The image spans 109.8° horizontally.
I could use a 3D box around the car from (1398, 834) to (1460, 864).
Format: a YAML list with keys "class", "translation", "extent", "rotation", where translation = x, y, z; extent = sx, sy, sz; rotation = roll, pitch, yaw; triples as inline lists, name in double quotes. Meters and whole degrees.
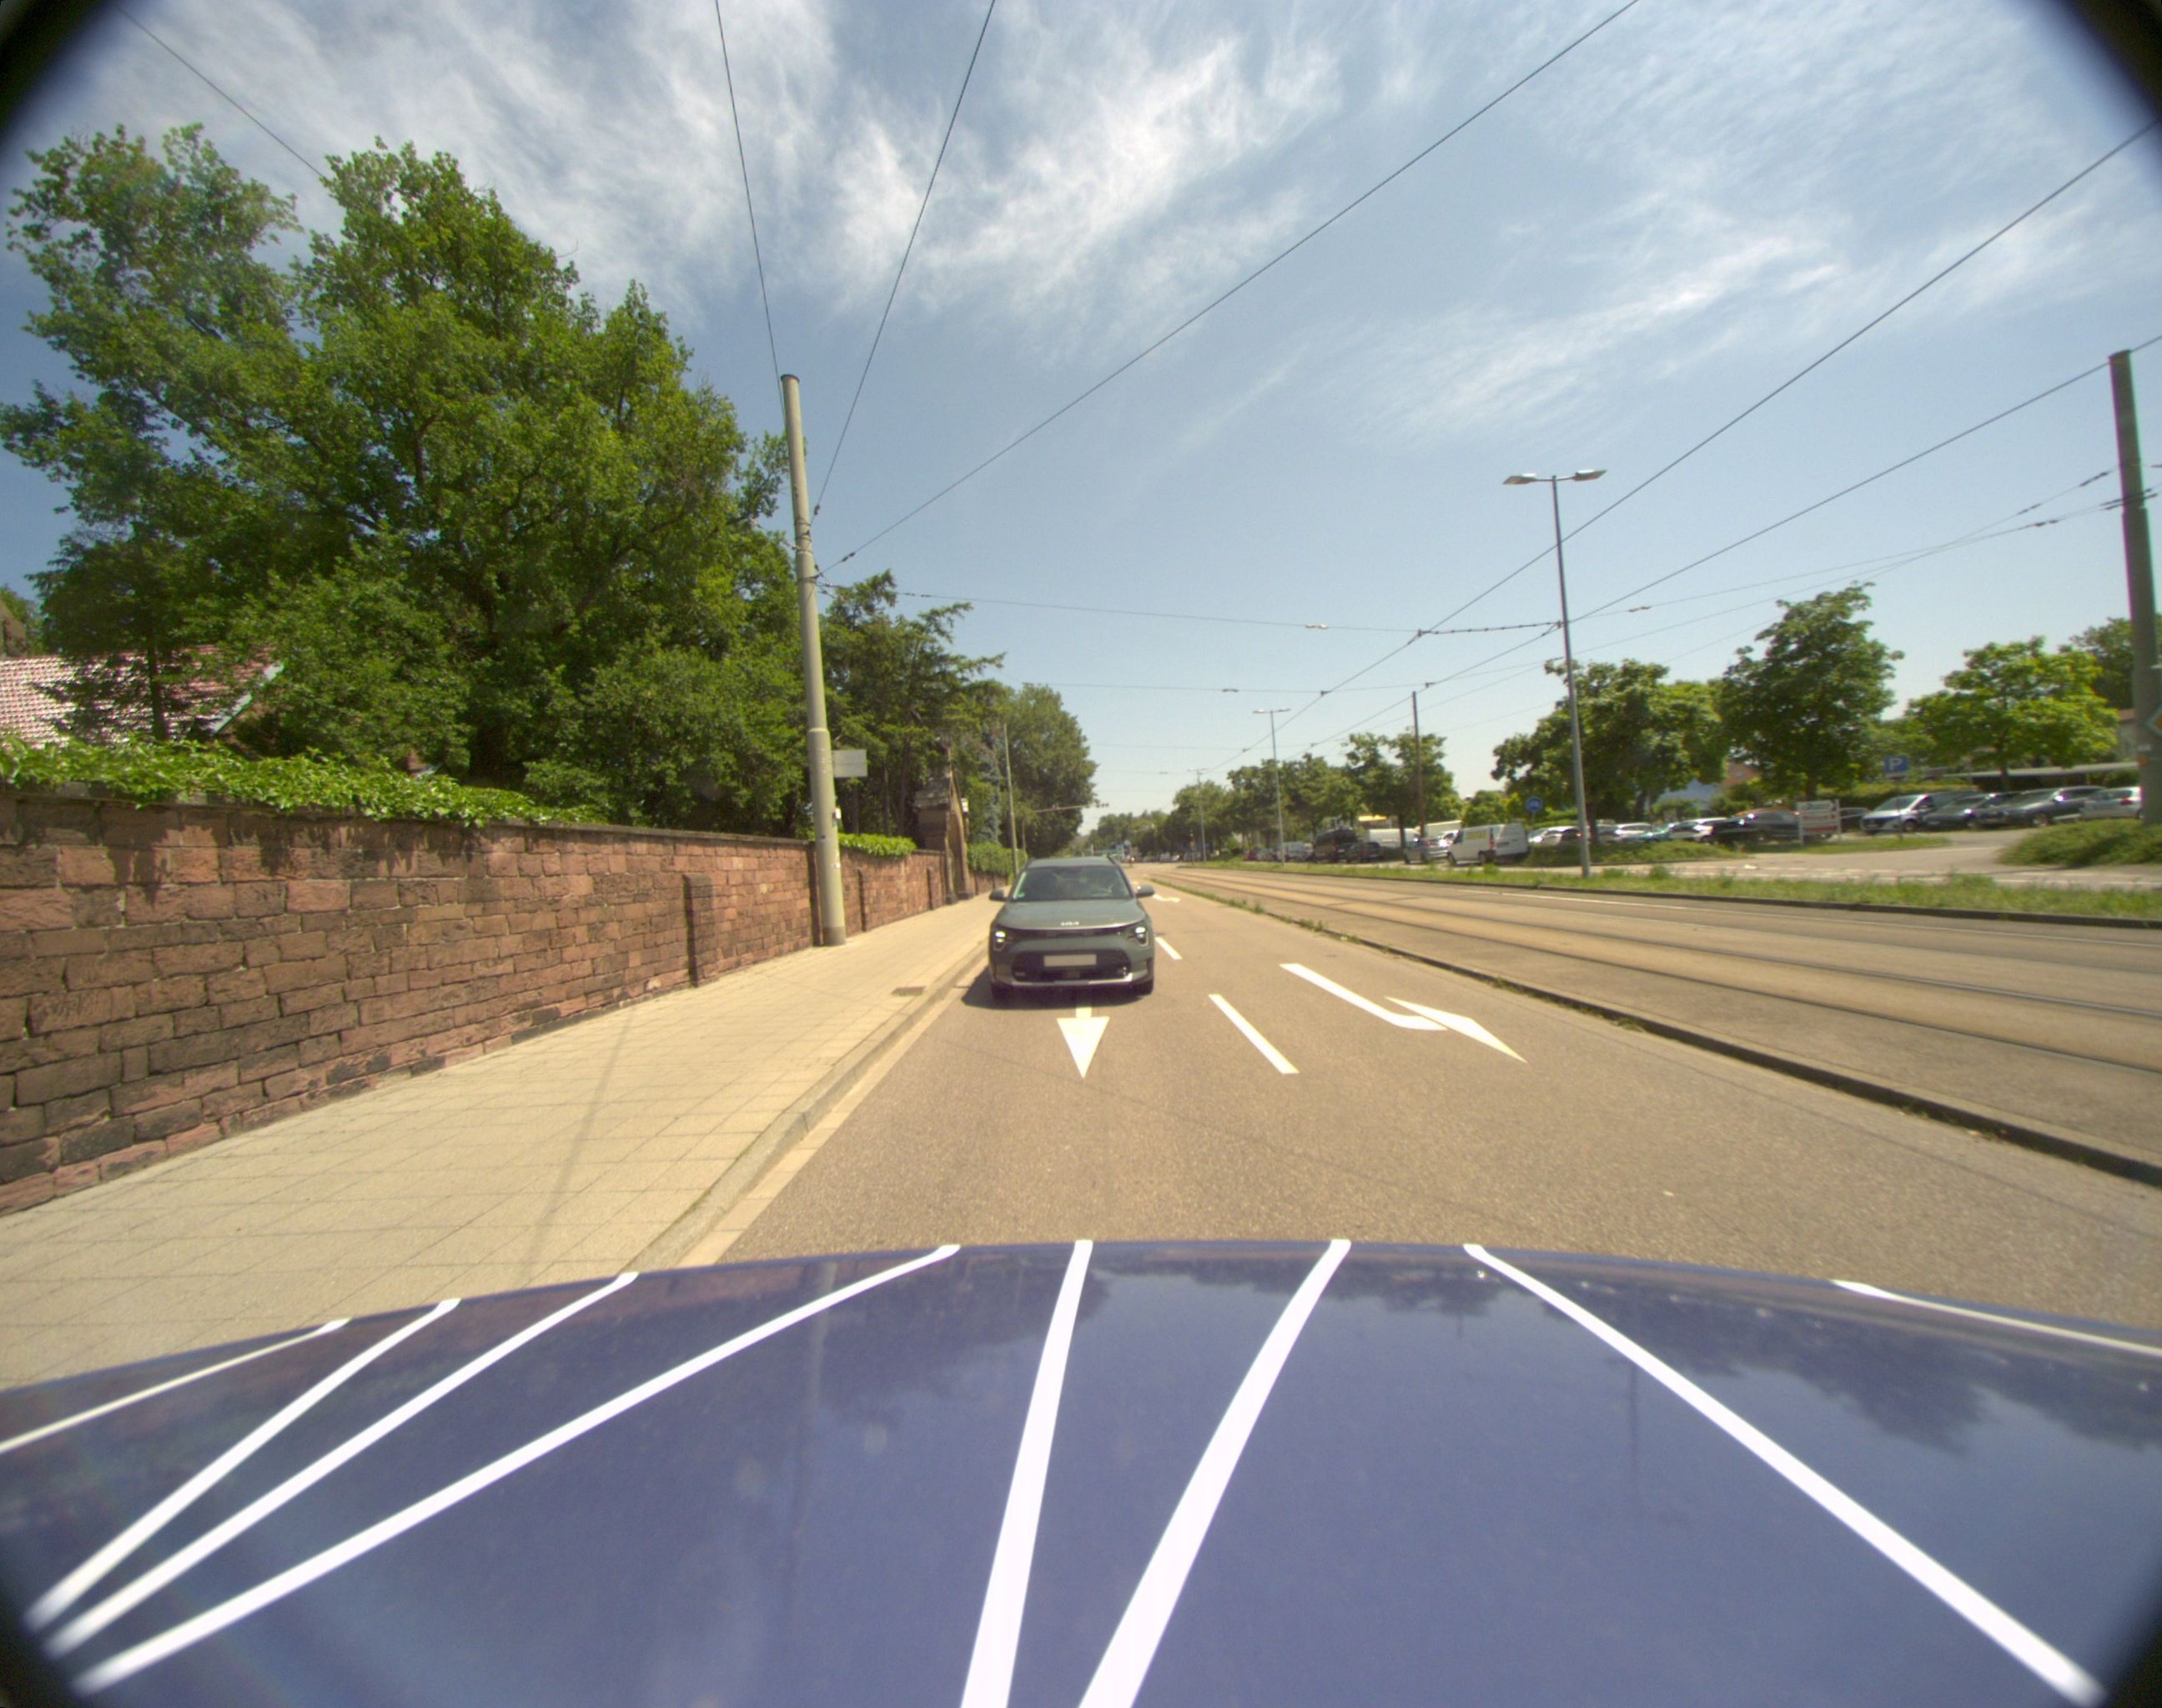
- class: "car"
  translation: [20.091, -0.291, 44.089]
  extent: [1.654, 1.494, 4.126]
  rotation: [-7, 0, 1]

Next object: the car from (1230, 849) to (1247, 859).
- class: "car"
  translation: [21.309, 0.010, 102.952]
  extent: [1.582, 1.152, 3.423]
  rotation: [-3, 1, 3]

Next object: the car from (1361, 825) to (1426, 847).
- class: "car"
  translation: [30.592, -1.741, 74.477]
  extent: [5.434, 1.944, 2.029]
  rotation: [-3, 1, 2]

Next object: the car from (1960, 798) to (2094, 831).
- class: "car"
  translation: [42.682, -1.765, 34.350]
  extent: [3.724, 1.277, 1.764]
  rotation: [-3, 1, 3]

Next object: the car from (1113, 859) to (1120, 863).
- class: "car"
  translation: [11.555, 2.252, 244.975]
  extent: [1.781, 1.310, 3.753]
  rotation: [-3, 1, -4]

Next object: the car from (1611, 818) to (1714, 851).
- class: "car"
  translation: [30.339, -1.016, 39.696]
  extent: [4.040, 1.481, 1.912]
  rotation: [-3, 1, -6]

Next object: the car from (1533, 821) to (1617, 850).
- class: "car"
  translation: [30.793, -1.149, 47.395]
  extent: [4.075, 1.481, 1.831]
  rotation: [-4, 0, -6]

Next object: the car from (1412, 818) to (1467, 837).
- class: "car"
  translation: [44.514, -3.280, 94.388]
  extent: [5.744, 2.051, 2.147]
  rotation: [-3, 1, -2]

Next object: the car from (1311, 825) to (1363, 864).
- class: "car"
  translation: [20.192, -0.749, 60.225]
  extent: [2.244, 2.821, 5.667]
  rotation: [-3, 1, 1]

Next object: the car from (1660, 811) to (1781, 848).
- class: "car"
  translation: [31.056, -1.176, 37.010]
  extent: [4.171, 1.481, 1.984]
  rotation: [-4, 0, -1]

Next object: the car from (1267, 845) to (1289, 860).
- class: "car"
  translation: [20.585, -0.131, 79.570]
  extent: [1.429, 1.470, 3.262]
  rotation: [-3, 1, 1]

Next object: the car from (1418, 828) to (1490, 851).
- class: "car"
  translation: [31.174, -1.232, 63.585]
  extent: [4.926, 1.567, 2.000]
  rotation: [-4, 0, -2]

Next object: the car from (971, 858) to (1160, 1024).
- class: "car"
  translation: [-0.164, 0.876, 9.677]
  extent: [1.824, 1.577, 4.287]
  rotation: [-2, 0, 0]

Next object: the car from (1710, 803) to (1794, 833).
- class: "car"
  translation: [43.659, -2.322, 49.485]
  extent: [4.129, 1.643, 1.692]
  rotation: [-3, 0, -5]

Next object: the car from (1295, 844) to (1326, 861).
- class: "car"
  translation: [20.553, -0.137, 68.282]
  extent: [1.767, 1.456, 3.608]
  rotation: [-3, 1, 2]

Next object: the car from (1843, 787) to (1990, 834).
- class: "car"
  translation: [43.282, -2.224, 39.469]
  extent: [5.120, 2.058, 2.226]
  rotation: [-3, 1, 1]

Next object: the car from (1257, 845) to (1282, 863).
- class: "car"
  translation: [20.828, -0.031, 84.076]
  extent: [1.635, 1.882, 4.496]
  rotation: [-3, 1, 1]

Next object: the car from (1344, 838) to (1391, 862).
- class: "car"
  translation: [20.263, -0.275, 53.863]
  extent: [1.976, 1.568, 3.752]
  rotation: [-3, 1, 1]

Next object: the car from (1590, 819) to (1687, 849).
- class: "car"
  translation: [30.864, -1.094, 42.152]
  extent: [4.146, 1.481, 1.859]
  rotation: [-3, 1, -6]

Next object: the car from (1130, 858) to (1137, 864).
- class: "car"
  translation: [14.805, 1.918, 214.316]
  extent: [1.820, 1.471, 3.423]
  rotation: [-3, 1, 3]

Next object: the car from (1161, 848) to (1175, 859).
- class: "car"
  translation: [16.604, -0.106, 144.991]
  extent: [1.821, 1.979, 4.212]
  rotation: [-3, 1, -3]

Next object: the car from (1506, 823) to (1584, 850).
- class: "car"
  translation: [30.448, -1.149, 49.889]
  extent: [3.999, 1.479, 1.866]
  rotation: [-4, 0, -6]

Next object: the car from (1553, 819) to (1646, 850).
- class: "car"
  translation: [30.358, -1.109, 44.564]
  extent: [4.163, 1.481, 2.023]
  rotation: [-4, 0, -6]

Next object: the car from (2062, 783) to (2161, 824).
- class: "car"
  translation: [43.823, -2.110, 31.485]
  extent: [3.996, 1.511, 1.661]
  rotation: [-3, 1, 3]

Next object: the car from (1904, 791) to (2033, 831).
- class: "car"
  translation: [43.191, -2.072, 37.048]
  extent: [3.996, 1.647, 1.804]
  rotation: [-3, 1, 3]

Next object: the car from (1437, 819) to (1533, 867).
- class: "car"
  translation: [19.970, -0.516, 37.888]
  extent: [1.880, 1.999, 5.344]
  rotation: [-7, 0, 1]

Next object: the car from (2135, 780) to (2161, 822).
- class: "car"
  translation: [43.250, -2.121, 28.888]
  extent: [3.996, 1.570, 1.520]
  rotation: [-3, 1, 3]

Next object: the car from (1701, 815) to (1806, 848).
- class: "car"
  translation: [30.461, -1.001, 34.443]
  extent: [3.423, 1.225, 1.643]
  rotation: [-4, 0, -6]

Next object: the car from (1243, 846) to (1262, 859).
- class: "car"
  translation: [20.517, -0.192, 90.909]
  extent: [1.582, 1.471, 3.423]
  rotation: [-3, 1, 3]

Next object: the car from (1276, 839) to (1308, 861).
- class: "car"
  translation: [20.530, -0.412, 74.072]
  extent: [1.924, 1.937, 4.817]
  rotation: [-3, 1, 2]

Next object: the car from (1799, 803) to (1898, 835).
- class: "car"
  translation: [44.087, -2.008, 43.680]
  extent: [3.997, 1.576, 1.684]
  rotation: [-3, 1, -1]
